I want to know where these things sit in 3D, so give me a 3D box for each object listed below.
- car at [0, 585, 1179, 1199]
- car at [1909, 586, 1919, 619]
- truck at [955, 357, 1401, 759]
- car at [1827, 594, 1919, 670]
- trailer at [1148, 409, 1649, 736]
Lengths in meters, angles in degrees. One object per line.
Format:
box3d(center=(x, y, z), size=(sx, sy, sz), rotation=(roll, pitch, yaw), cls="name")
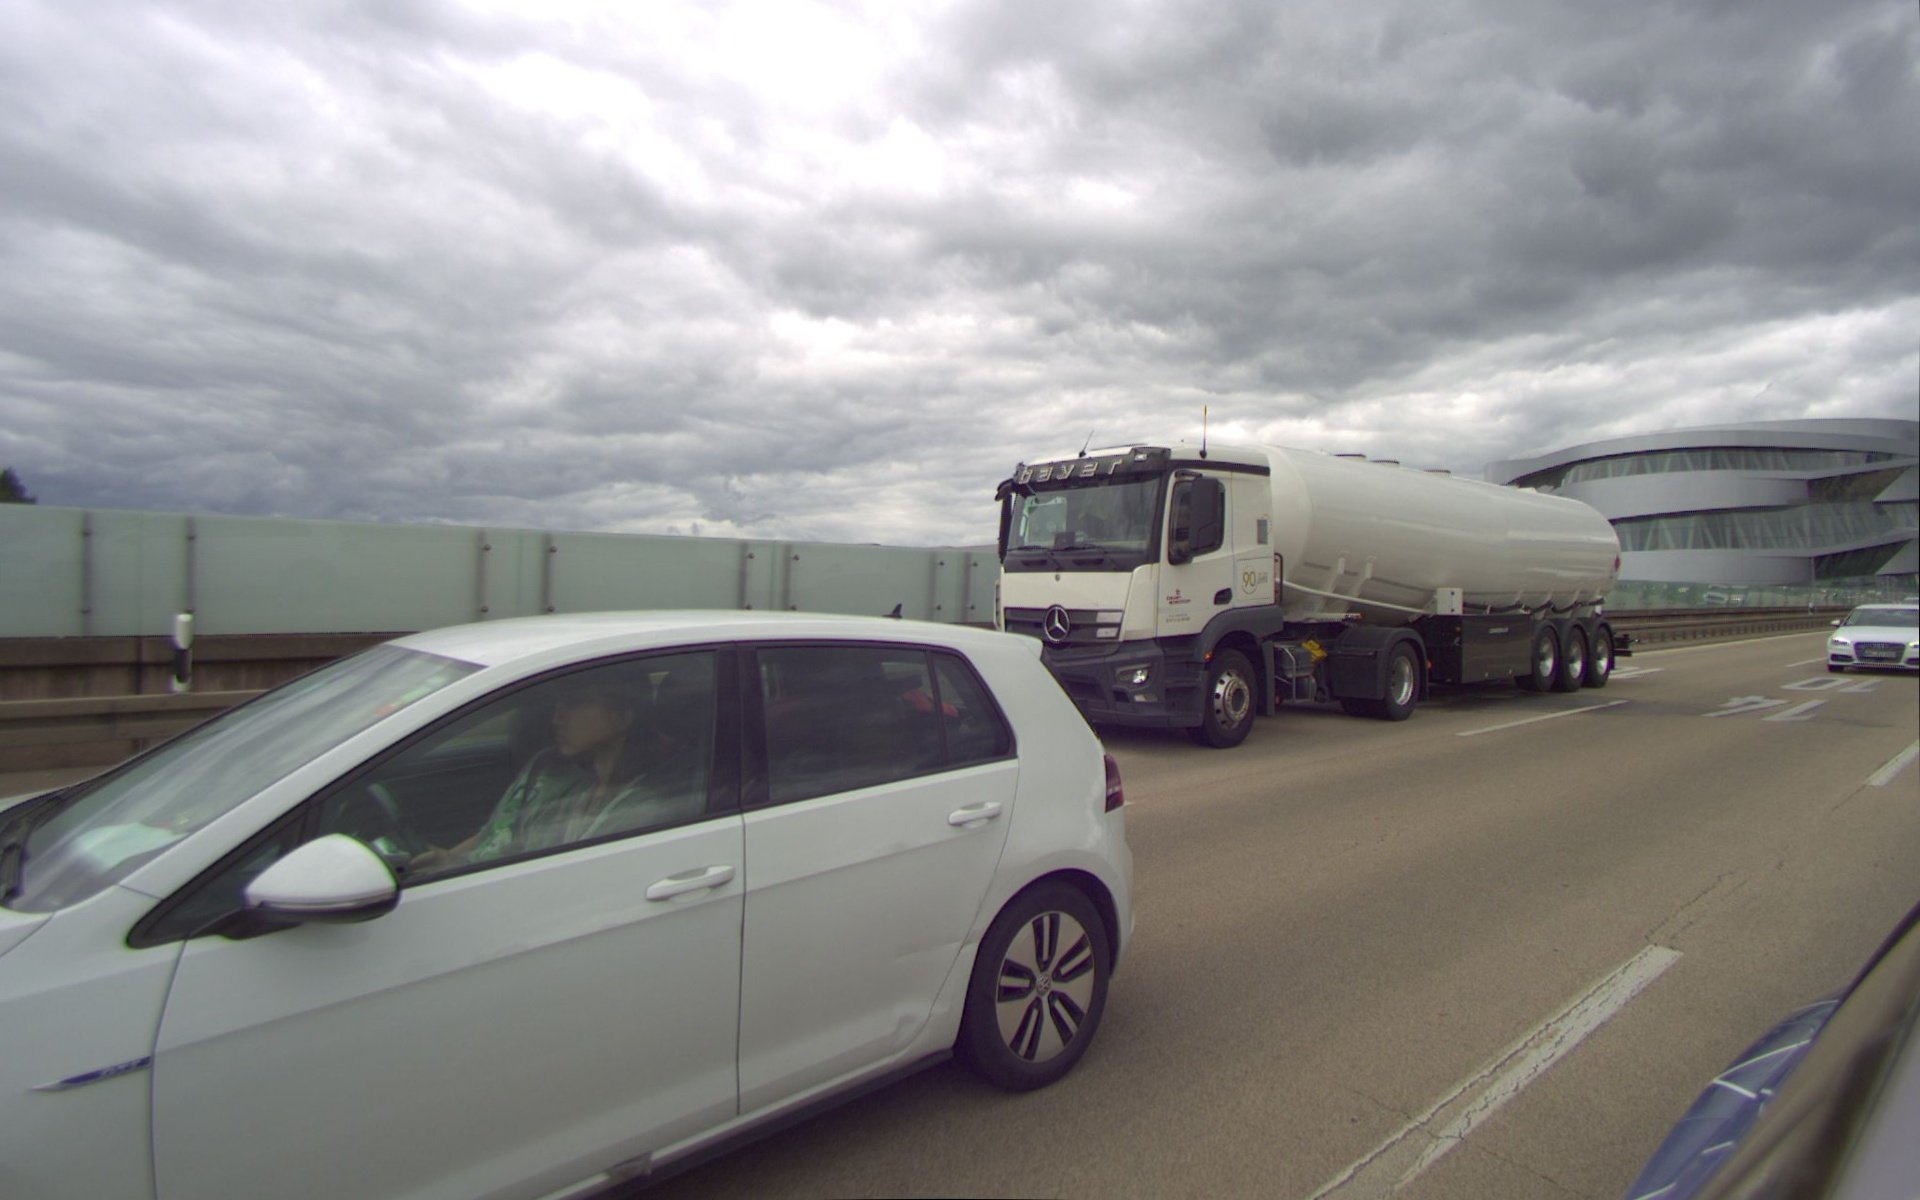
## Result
box3d(center=(-1.352, 0.711, 2.666), size=(4.002, 1.470, 1.757), rotation=(0, 1, -42), cls="car")
box3d(center=(51.137, 0.117, 52.927), size=(3.563, 1.654, 1.784), rotation=(-1, 1, -40), cls="car")
box3d(center=(2.619, -0.403, 11.554), size=(4.818, 3.558, 2.635), rotation=(0, 0, -41), cls="truck")
box3d(center=(19.821, 0.614, 21.186), size=(3.861, 1.470, 1.848), rotation=(0, 0, -39), cls="car")
box3d(center=(7.460, -0.370, 15.735), size=(11.024, 3.588, 2.655), rotation=(-1, 1, -41), cls="trailer")
